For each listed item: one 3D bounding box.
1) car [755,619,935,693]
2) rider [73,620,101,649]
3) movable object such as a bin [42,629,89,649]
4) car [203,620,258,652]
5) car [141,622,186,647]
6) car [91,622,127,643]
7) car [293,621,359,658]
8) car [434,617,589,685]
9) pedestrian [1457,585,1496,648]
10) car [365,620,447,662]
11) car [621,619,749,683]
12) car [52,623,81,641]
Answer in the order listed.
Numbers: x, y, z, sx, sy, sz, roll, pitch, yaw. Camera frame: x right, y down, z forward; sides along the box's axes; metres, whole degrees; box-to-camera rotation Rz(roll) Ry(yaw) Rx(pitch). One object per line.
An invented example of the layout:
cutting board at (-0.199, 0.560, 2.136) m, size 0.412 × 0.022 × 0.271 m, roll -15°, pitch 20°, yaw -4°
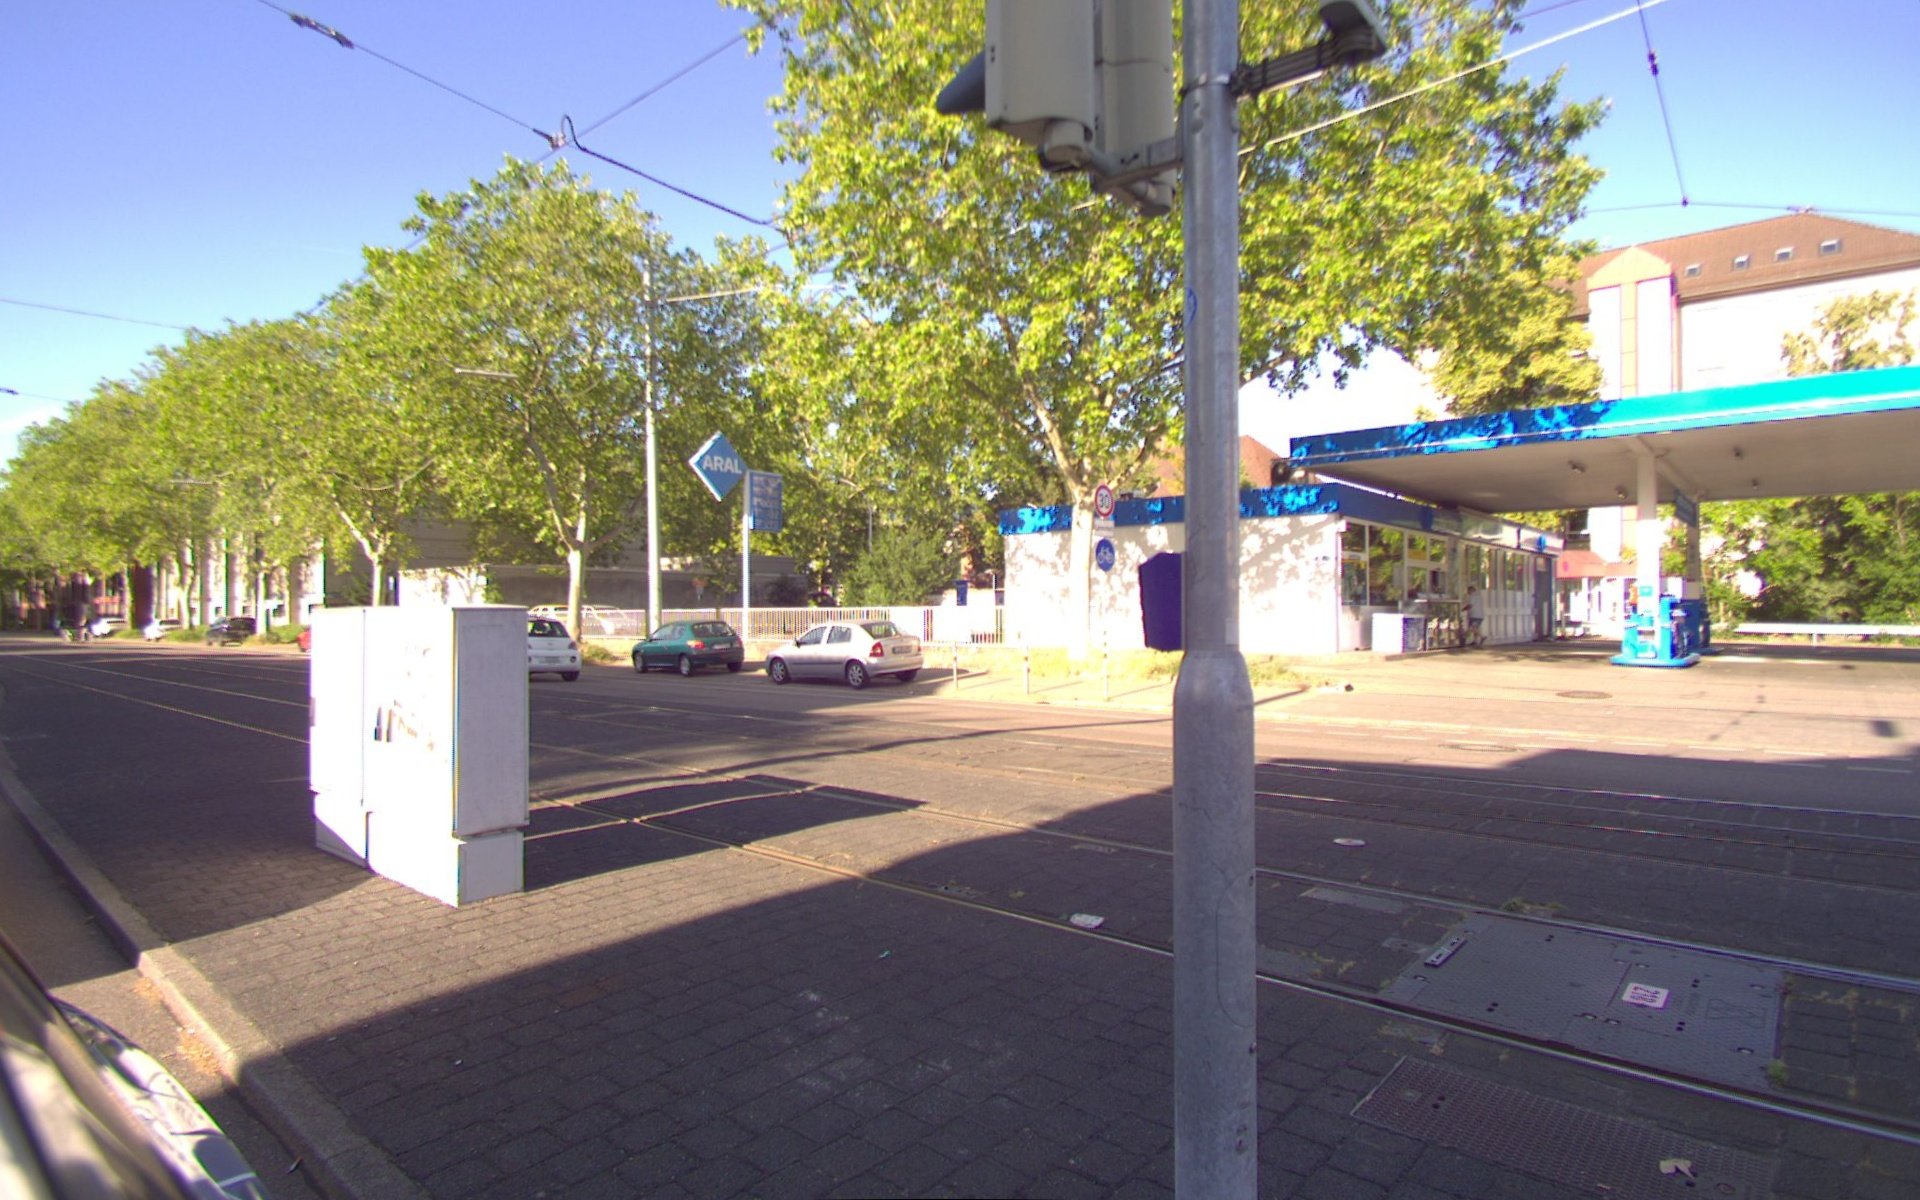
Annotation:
car at (-2.622, 1.192, 22.578) m, size 3.987 × 1.376 × 1.666 m, roll -2°, pitch 3°, yaw 41°
rider at (-51.424, 2.021, 59.617) m, size 1.092 × 1.660 × 0.725 m, roll -1°, pitch 0°, yaw 6°
movable object such as a bin at (-52.769, 2.285, 59.716) m, size 1.812 × 1.111 × 1.177 m, roll -1°, pitch 0°, yaw 6°
car at (-40.718, 1.992, 56.468) m, size 3.878 × 1.603 × 1.731 m, roll -1°, pitch 2°, yaw 43°
car at (-53.699, 2.300, 68.219) m, size 3.878 × 1.552 × 1.731 m, roll -1°, pitch 2°, yaw 43°
car at (-66.788, 2.518, 79.384) m, size 3.731 × 1.471 × 1.639 m, roll -1°, pitch 2°, yaw 43°
car at (-28.804, 1.769, 45.957) m, size 3.377 × 1.506 × 1.639 m, roll -1°, pitch 2°, yaw 43°
car at (-10.399, 1.164, 23.380) m, size 3.933 × 1.446 × 1.720 m, roll -1°, pitch -4°, yaw 41°
pedestrian at (14.327, 0.475, 28.089) m, size 0.847 × 1.715 × 0.640 m, roll -1°, pitch -3°, yaw 40°
car at (-21.872, 1.575, 39.916) m, size 3.769 × 1.455 × 1.701 m, roll -1°, pitch 2°, yaw 43°
car at (-7.359, 1.300, 26.934) m, size 3.606 × 1.455 × 1.598 m, roll -1°, pitch 2°, yaw 43°
car at (-85.003, 3.033, 96.268) m, size 3.731 × 1.471 × 1.639 m, roll -1°, pitch 2°, yaw 43°
